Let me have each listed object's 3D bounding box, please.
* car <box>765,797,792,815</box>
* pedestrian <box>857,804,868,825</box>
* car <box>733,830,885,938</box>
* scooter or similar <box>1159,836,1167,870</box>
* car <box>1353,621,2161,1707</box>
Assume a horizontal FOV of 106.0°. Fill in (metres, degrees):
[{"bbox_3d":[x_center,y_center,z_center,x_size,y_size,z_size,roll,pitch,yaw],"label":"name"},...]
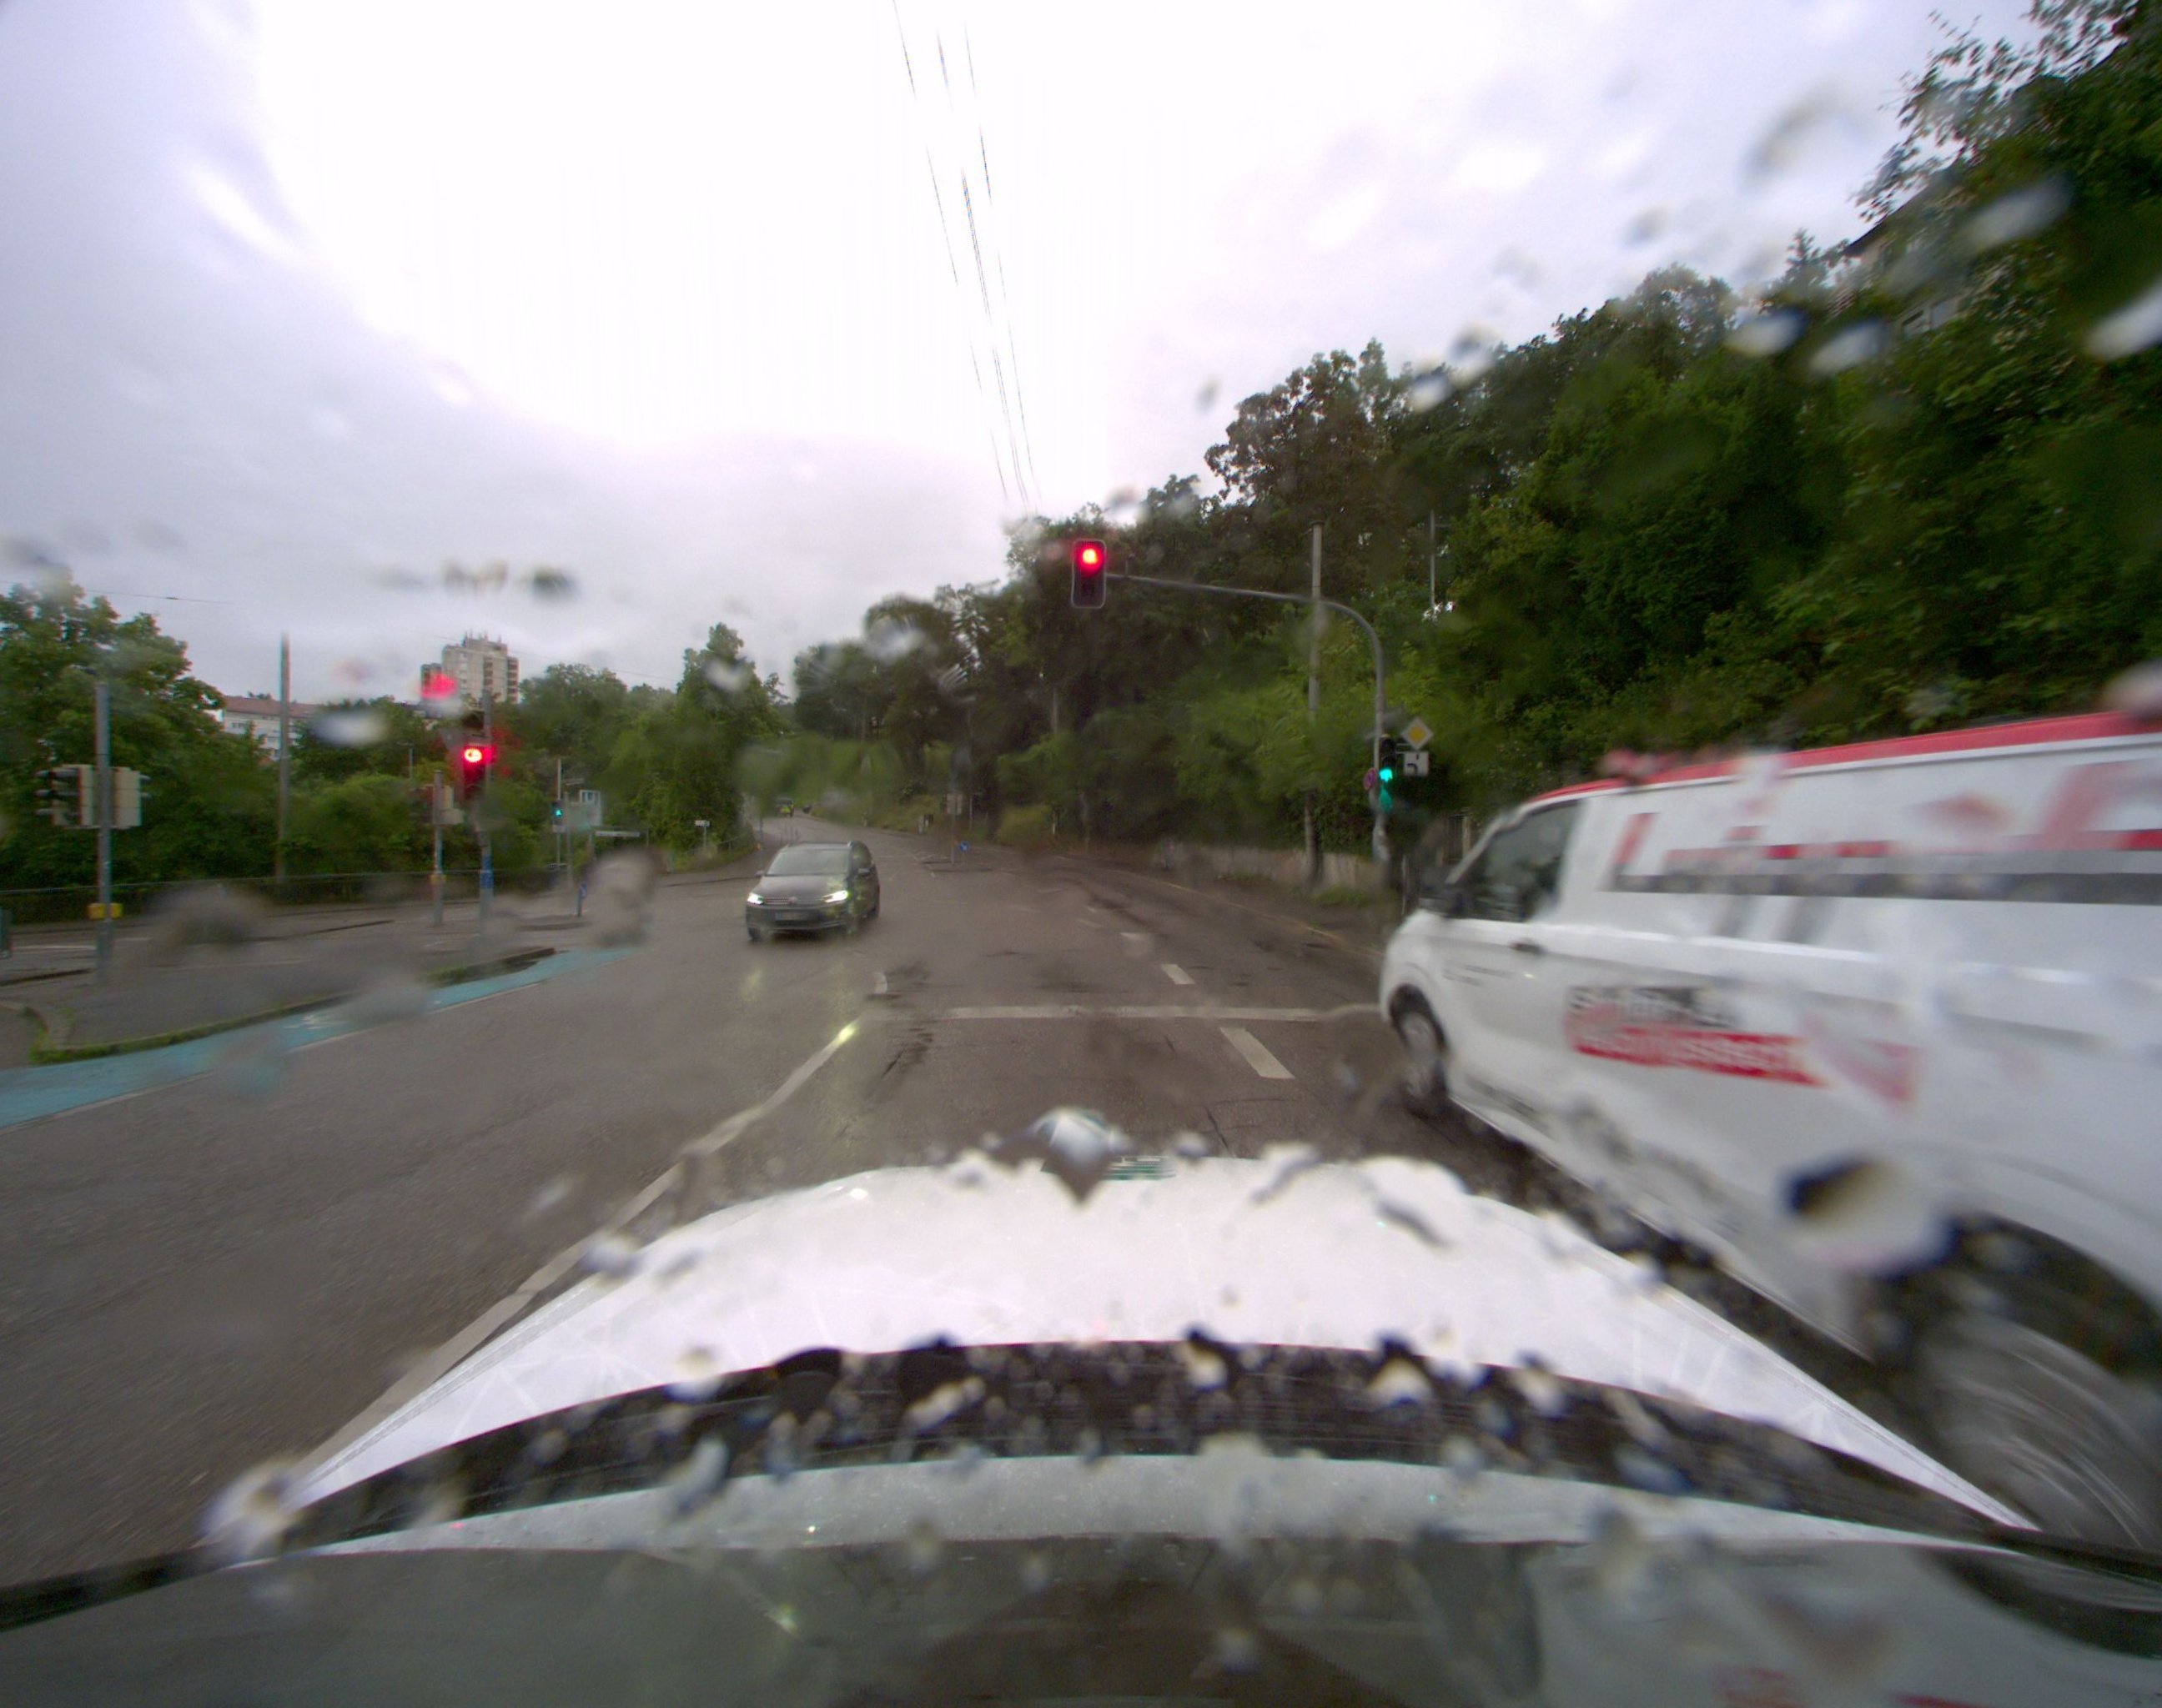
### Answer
[{"bbox_3d":[-32.451,-5.159,87.404,1.931,1.780,3.961,0,2,-32],"label":"car"},{"bbox_3d":[-19.238,-3.476,71.816,0.883,1.736,0.860,0,-1,-18],"label":"pedestrian"},{"bbox_3d":[-4.902,0.419,15.292,1.847,1.679,4.163,-2,2,-7],"label":"car"},{"bbox_3d":[3.191,-0.051,31.718,0.320,1.279,0.753,0,3,6],"label":"scooter or similar"},{"bbox_3d":[2.967,0.541,3.283,2.060,2.006,4.813,0,1,-1],"label":"car"}]
